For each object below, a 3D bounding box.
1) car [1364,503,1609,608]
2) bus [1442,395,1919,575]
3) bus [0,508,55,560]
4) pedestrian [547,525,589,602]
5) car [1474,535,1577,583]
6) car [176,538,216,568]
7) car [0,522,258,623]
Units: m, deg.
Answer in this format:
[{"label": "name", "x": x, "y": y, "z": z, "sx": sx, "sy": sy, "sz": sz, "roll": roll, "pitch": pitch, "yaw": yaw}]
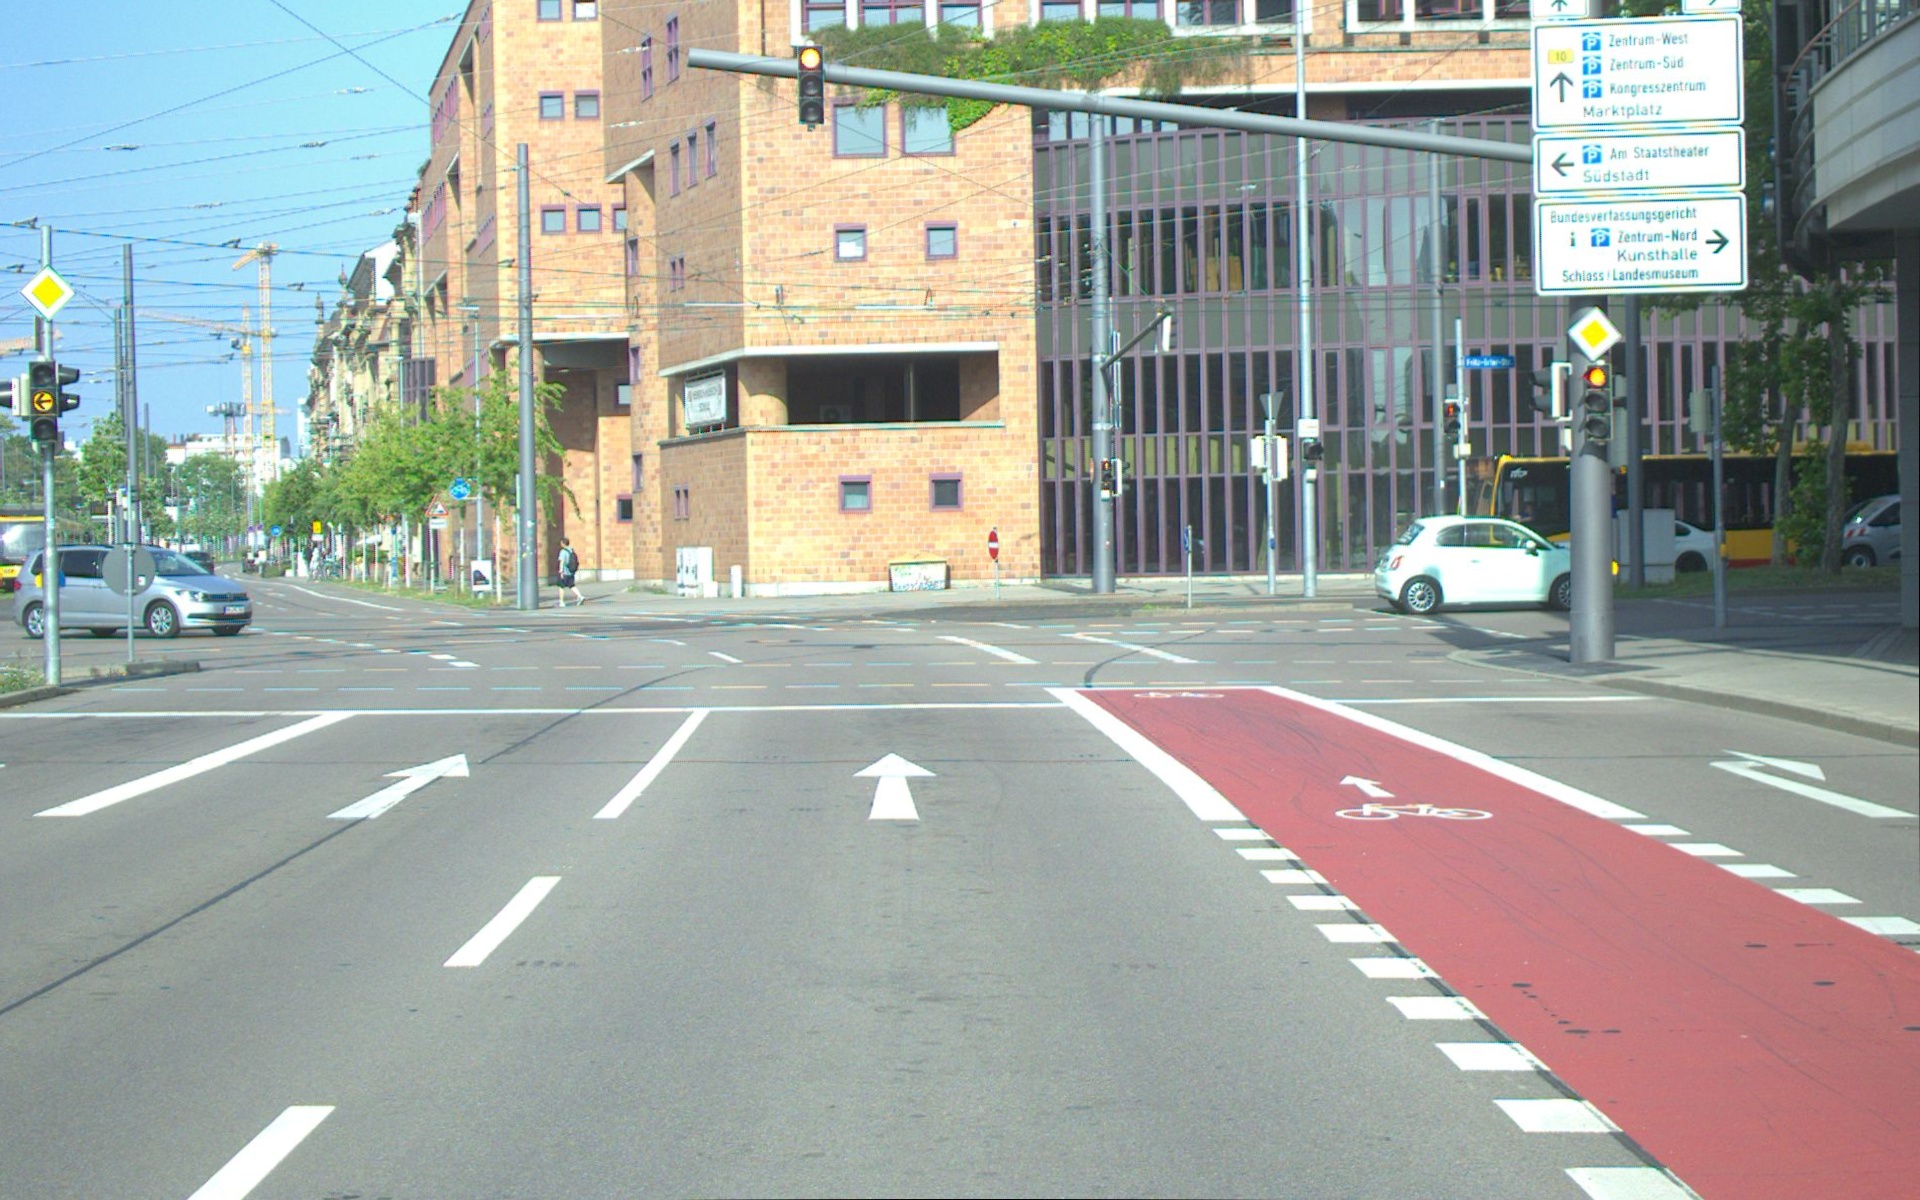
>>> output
[{"label": "car", "x": 8.118, "y": -0.675, "z": 53.195, "sx": 3.436, "sy": 1.536, "sz": 1.735, "roll": -1, "pitch": 0, "yaw": -2}, {"label": "bus", "x": 19.846, "y": -2.642, "z": 77.914, "sx": 17.605, "sy": 3.797, "sz": 2.866, "roll": -1, "pitch": 0, "yaw": -11}, {"label": "bus", "x": -36.874, "y": -2.589, "z": 135.306, "sx": 1.993, "sy": 2.007, "sz": 4.001, "roll": -1, "pitch": 1, "yaw": -21}, {"label": "pedestrian", "x": -10.333, "y": -0.977, "z": 90.707, "sx": 0.841, "sy": 2.007, "sz": 0.810, "roll": -1, "pitch": 1, "yaw": 14}, {"label": "car", "x": 11.923, "y": -0.867, "z": 72.538, "sx": 1.951, "sy": 0.955, "sz": 1.094, "roll": 1, "pitch": -1, "yaw": -4}, {"label": "car", "x": -42.207, "y": -2.577, "z": 189.905, "sx": 2.073, "sy": 1.537, "sz": 4.415, "roll": -1, "pitch": 0, "yaw": -13}, {"label": "car", "x": -14.359, "y": -0.483, "z": 59.098, "sx": 4.384, "sy": 1.629, "sz": 1.688, "roll": 0, "pitch": 3, "yaw": 28}]
